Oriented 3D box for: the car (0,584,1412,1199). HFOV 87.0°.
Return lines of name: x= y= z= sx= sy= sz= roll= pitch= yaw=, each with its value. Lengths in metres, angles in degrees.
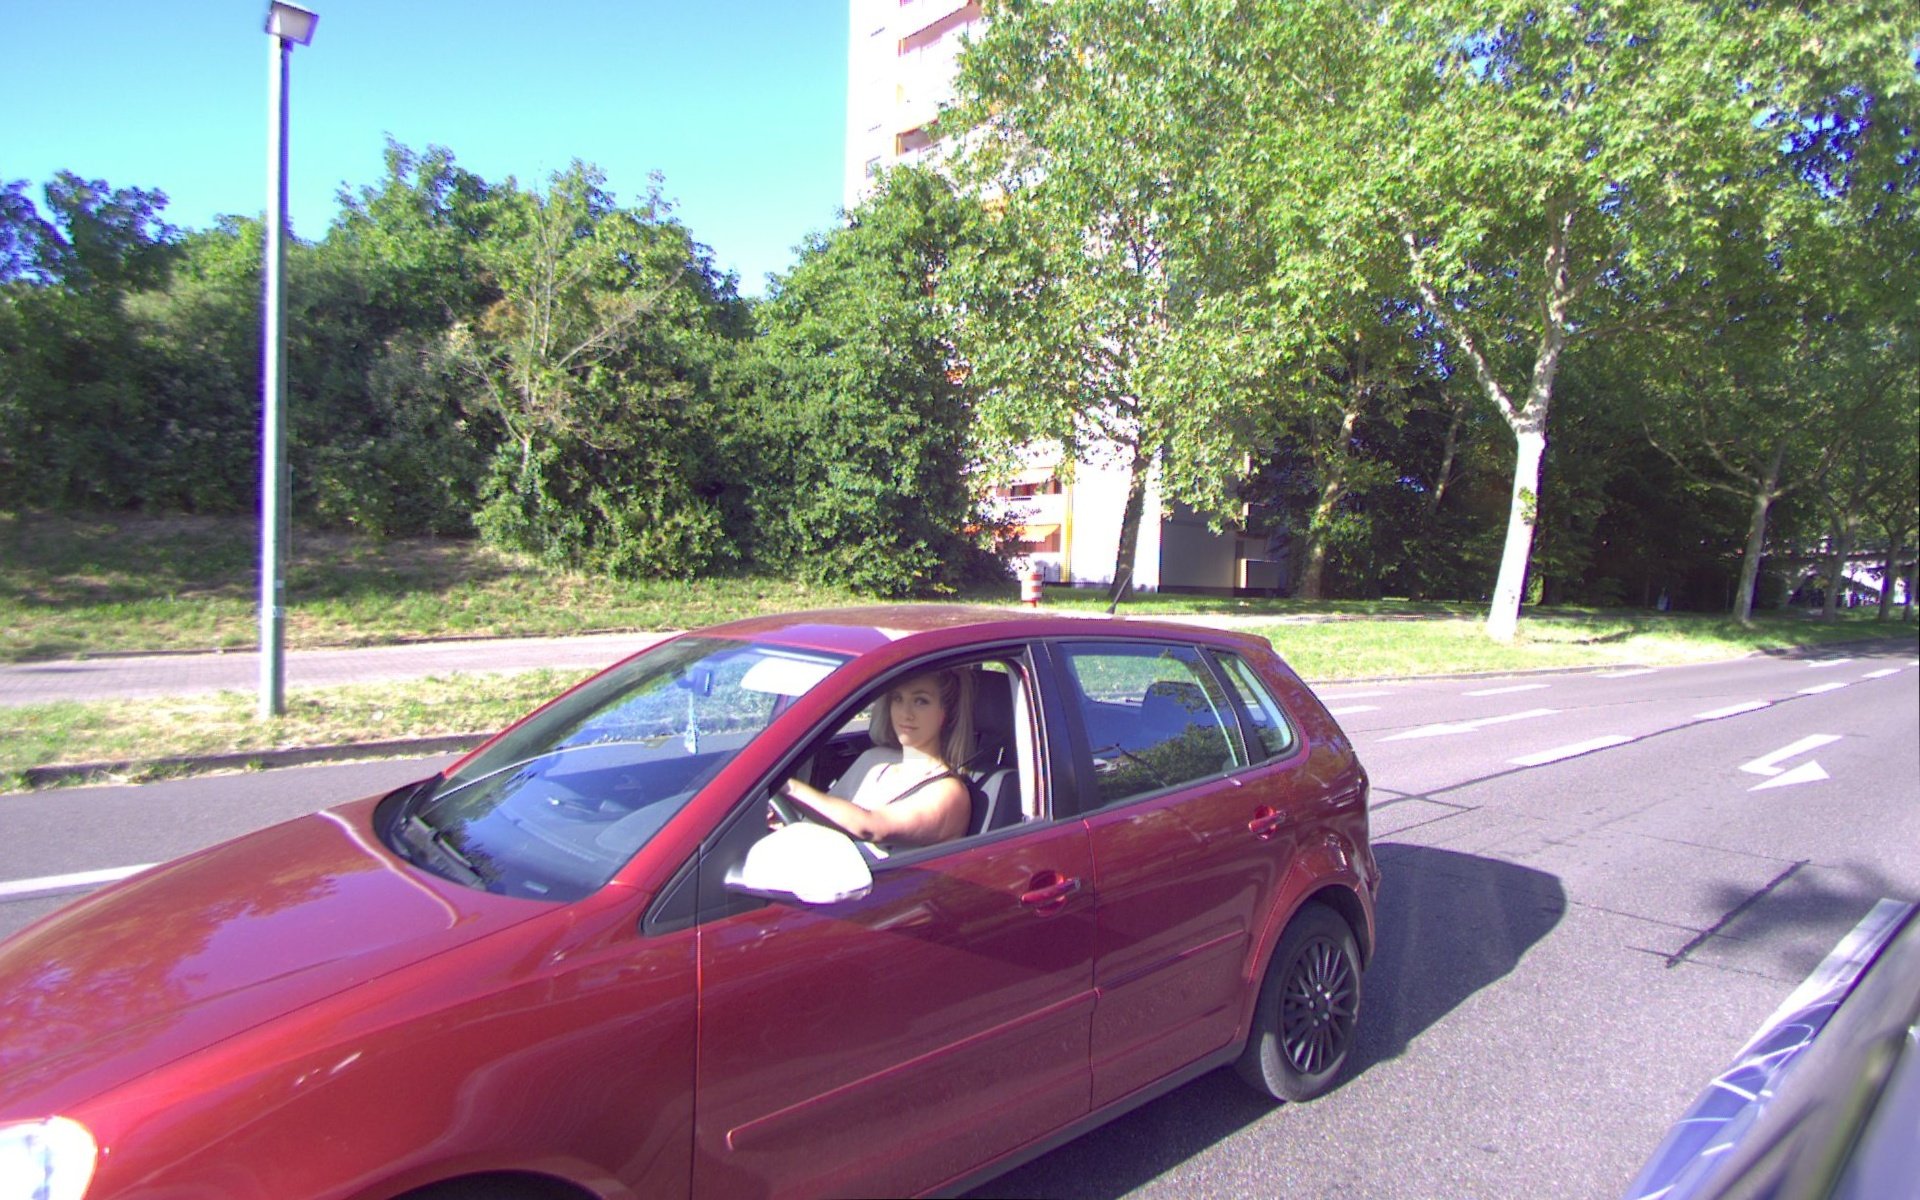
car: x=-0.469 y=0.696 z=2.754 sx=3.627 sy=1.434 sz=1.626 roll=0 pitch=1 yaw=-39
